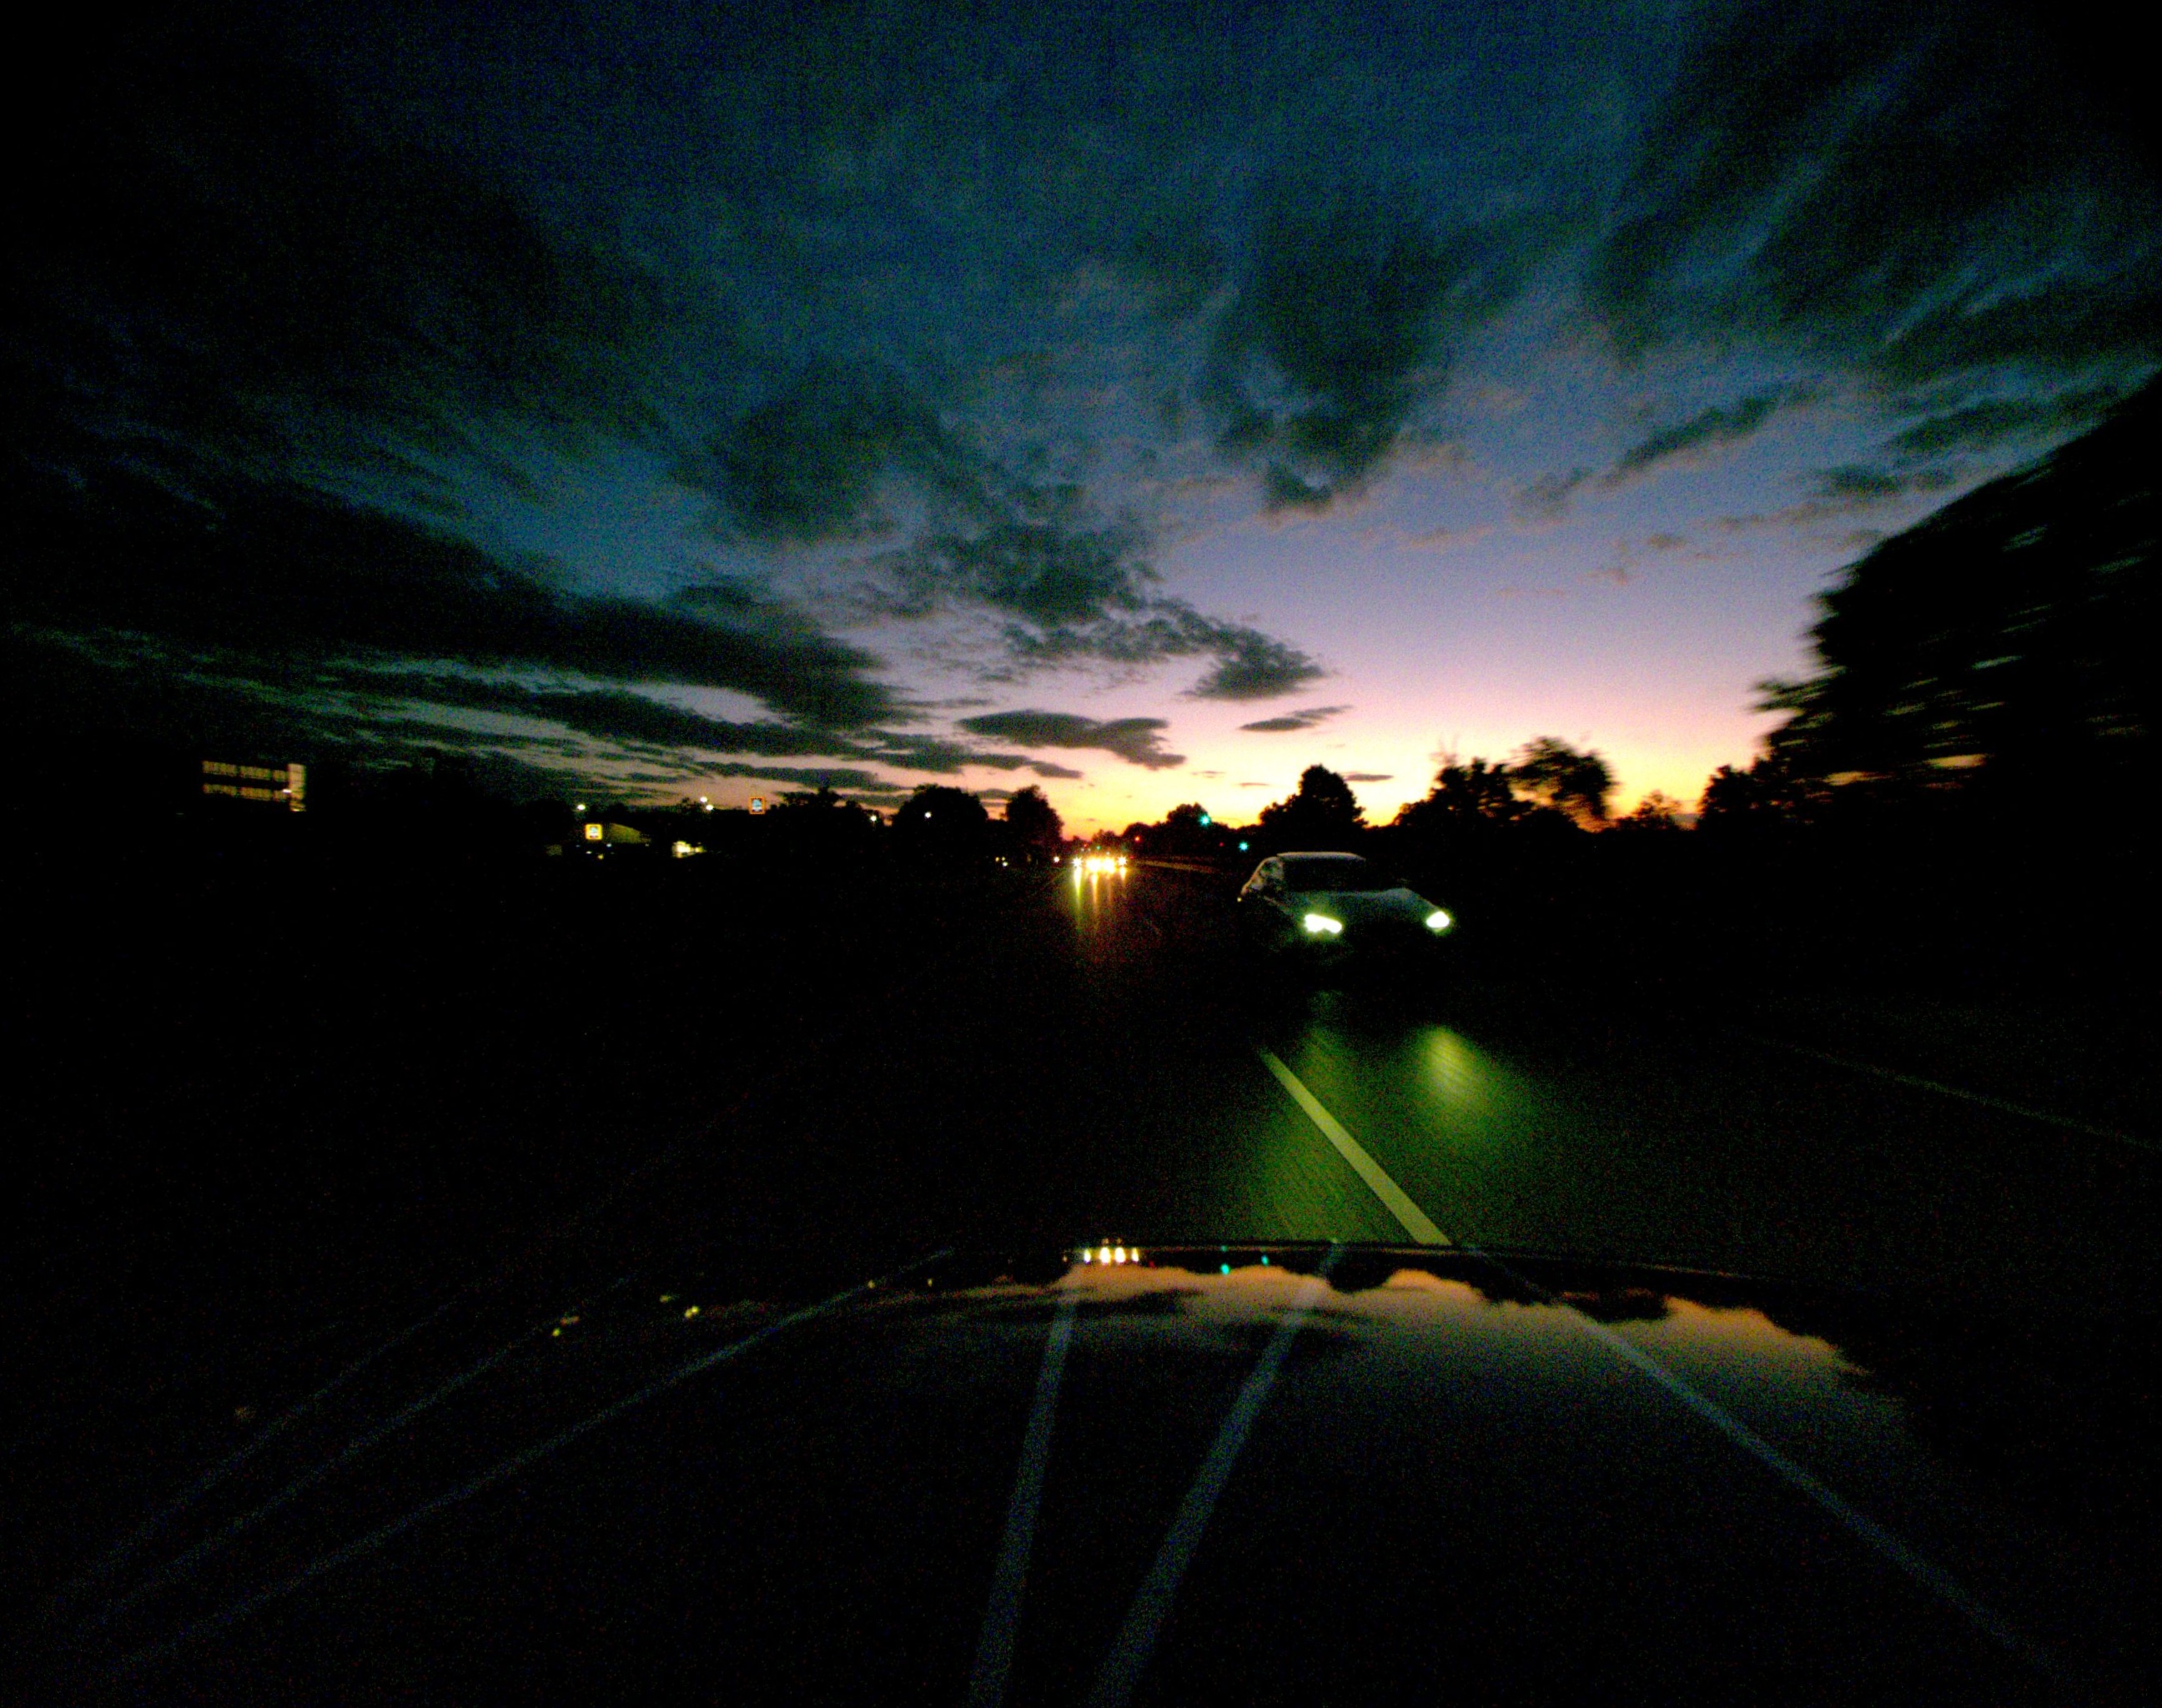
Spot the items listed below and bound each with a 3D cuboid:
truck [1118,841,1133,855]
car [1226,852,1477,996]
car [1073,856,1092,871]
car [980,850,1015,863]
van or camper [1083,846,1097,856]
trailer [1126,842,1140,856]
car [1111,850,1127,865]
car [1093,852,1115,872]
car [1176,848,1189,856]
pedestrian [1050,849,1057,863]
[{"bbox_3d":[13.577,-1.802,234.701,2.734,4.094,10.338,-2,1,-7],"label":"truck"},{"bbox_3d":[3.332,0.768,10.451,1.819,1.428,4.646,-4,0,1],"label":"car"},{"bbox_3d":[0.202,1.054,86.063,1.902,1.547,4.301,-4,0,1],"label":"car"},{"bbox_3d":[-10.915,0.378,99.408,4.477,1.654,1.999,1,0,-6],"label":"car"},{"bbox_3d":[2.528,-0.862,223.592,3.949,3.107,9.941,-1,0,0],"label":"van or camper"},{"bbox_3d":[15.234,-1.553,225.014,2.585,3.920,8.871,1,1,-6],"label":"trailer"},{"bbox_3d":[4.493,0.390,90.062,1.760,1.692,4.250,-2,0,1],"label":"car"},{"bbox_3d":[1.815,0.612,61.545,1.663,1.528,3.715,-2,0,1],"label":"car"},{"bbox_3d":[17.535,-0.334,132.018,1.656,1.376,4.029,-3,1,0],"label":"car"},{"bbox_3d":[-4.264,0.301,118.101,0.782,2.002,0.712,-4,2,-38],"label":"pedestrian"}]
